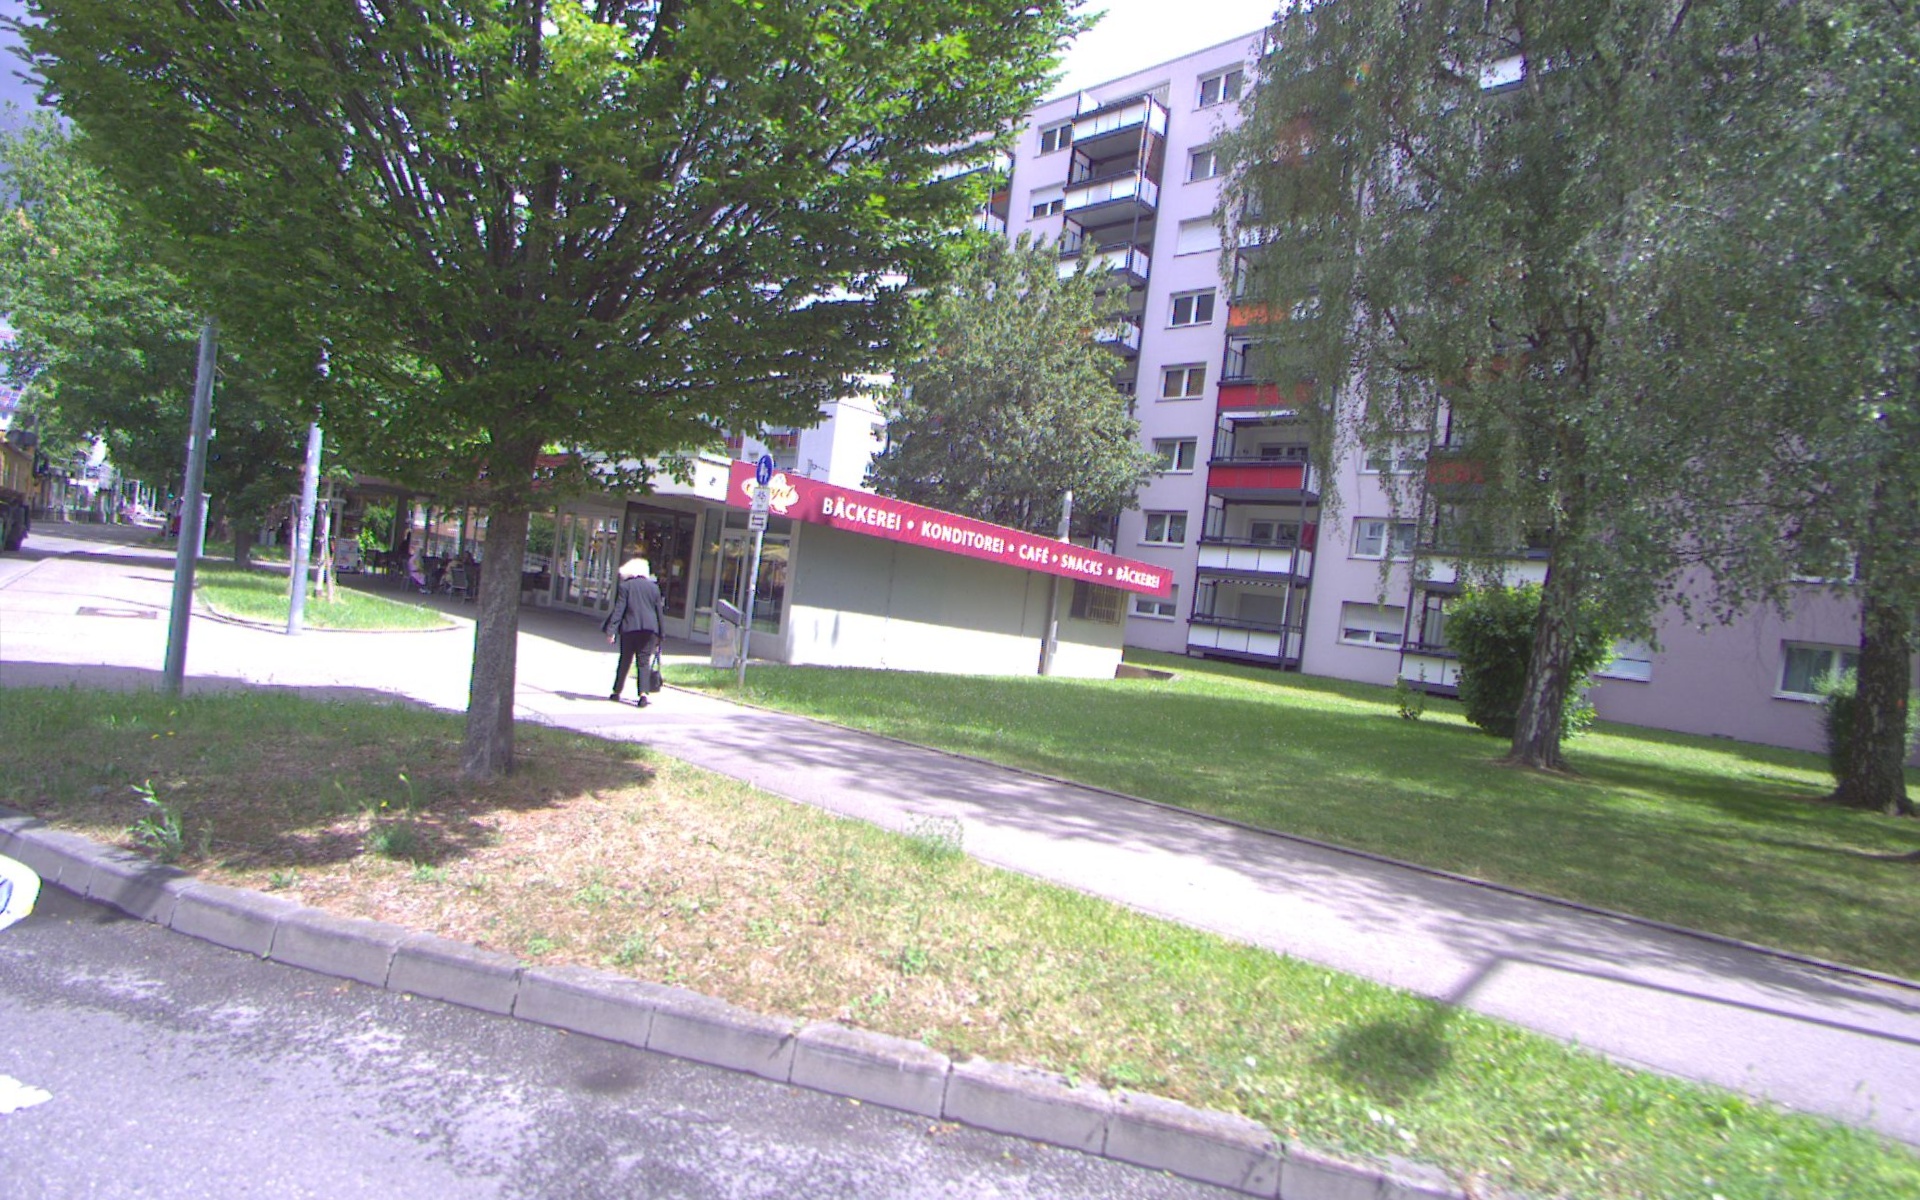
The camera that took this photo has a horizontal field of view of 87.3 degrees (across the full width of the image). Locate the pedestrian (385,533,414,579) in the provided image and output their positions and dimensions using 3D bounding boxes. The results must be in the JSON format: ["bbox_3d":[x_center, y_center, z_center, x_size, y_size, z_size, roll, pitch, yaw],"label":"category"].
[{"bbox_3d":[-20.701,-1.620,37.146,0.694,1.593,0.551,6,1,-42],"label":"pedestrian"}]

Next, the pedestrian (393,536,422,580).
[{"bbox_3d":[-20.229,-1.523,36.831,0.694,1.507,0.551,6,1,-42],"label":"pedestrian"}]

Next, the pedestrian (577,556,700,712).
[{"bbox_3d":[-3.467,0.363,10.841,0.868,1.538,0.795,7,1,-39],"label":"pedestrian"}]

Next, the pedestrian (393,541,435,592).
[{"bbox_3d":[-15.456,-0.940,28.477,0.873,1.341,0.604,6,1,-38],"label":"pedestrian"}]

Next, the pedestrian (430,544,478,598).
[{"bbox_3d":[-14.277,-0.821,28.383,0.811,1.342,0.875,10,3,43],"label":"pedestrian"}]

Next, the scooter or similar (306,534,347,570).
[{"bbox_3d":[-24.132,-1.812,38.331,0.510,1.242,1.728,7,1,-6],"label":"scooter or similar"}]

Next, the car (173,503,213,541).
[{"bbox_3d":[-66.238,-6.717,86.969,1.983,2.859,5.069,11,-2,-33],"label":"car"}]

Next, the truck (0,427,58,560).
[{"bbox_3d":[-25.029,-2.877,24.835,2.973,3.072,8.398,8,1,-36],"label":"truck"}]

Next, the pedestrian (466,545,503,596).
[{"bbox_3d":[-13.720,-0.852,29.036,0.714,1.398,0.691,6,1,-39],"label":"pedestrian"}]

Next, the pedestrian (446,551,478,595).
[{"bbox_3d":[-14.780,-0.803,29.853,0.713,1.216,0.693,6,1,-33],"label":"pedestrian"}]

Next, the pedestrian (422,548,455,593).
[{"bbox_3d":[-15.333,-0.878,29.601,0.713,1.216,0.693,6,1,-33],"label":"pedestrian"}]

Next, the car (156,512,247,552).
[{"bbox_3d":[-43.512,-3.899,57.829,3.964,1.530,1.980,8,2,-34],"label":"car"}]
